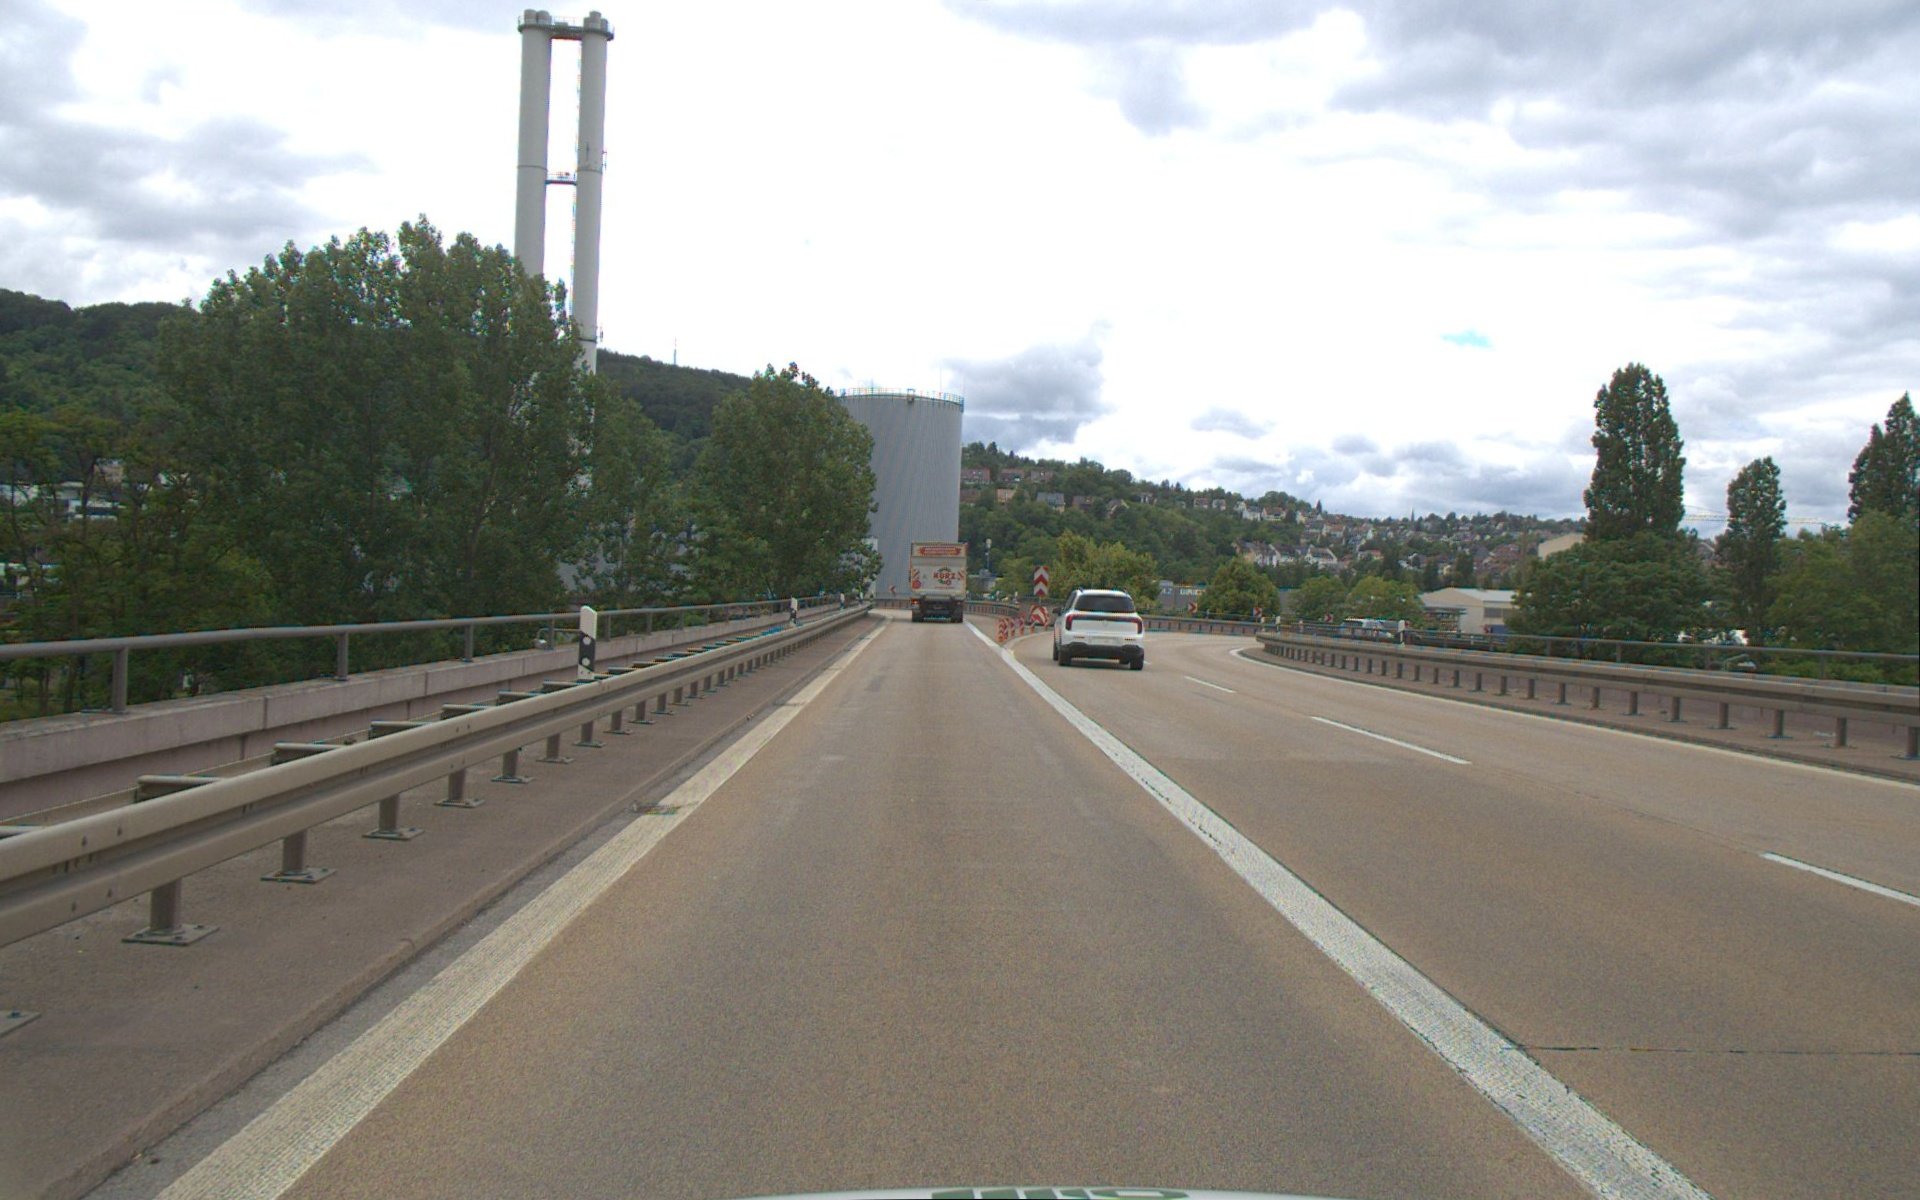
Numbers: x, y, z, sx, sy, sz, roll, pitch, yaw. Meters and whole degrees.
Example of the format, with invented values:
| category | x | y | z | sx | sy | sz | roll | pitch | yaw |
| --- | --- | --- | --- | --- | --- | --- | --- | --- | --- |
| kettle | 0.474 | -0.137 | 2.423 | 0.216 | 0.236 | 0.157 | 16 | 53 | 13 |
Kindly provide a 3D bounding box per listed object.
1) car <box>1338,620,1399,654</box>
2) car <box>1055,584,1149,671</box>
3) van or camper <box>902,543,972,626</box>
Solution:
| category | x | y | z | sx | sy | sz | roll | pitch | yaw |
| --- | --- | --- | --- | --- | --- | --- | --- | --- | --- |
| car | 22.802 | 2.043 | 92.261 | 1.892 | 1.816 | 4.097 | 1 | 0 | 36 |
| car | 3.113 | 0.568 | 37.009 | 1.884 | 1.816 | 4.114 | 1 | 0 | 2 |
| van or camper | -1.062 | -0.674 | 77.653 | 3.058 | 3.642 | 8.549 | 1 | 0 | 0 |
